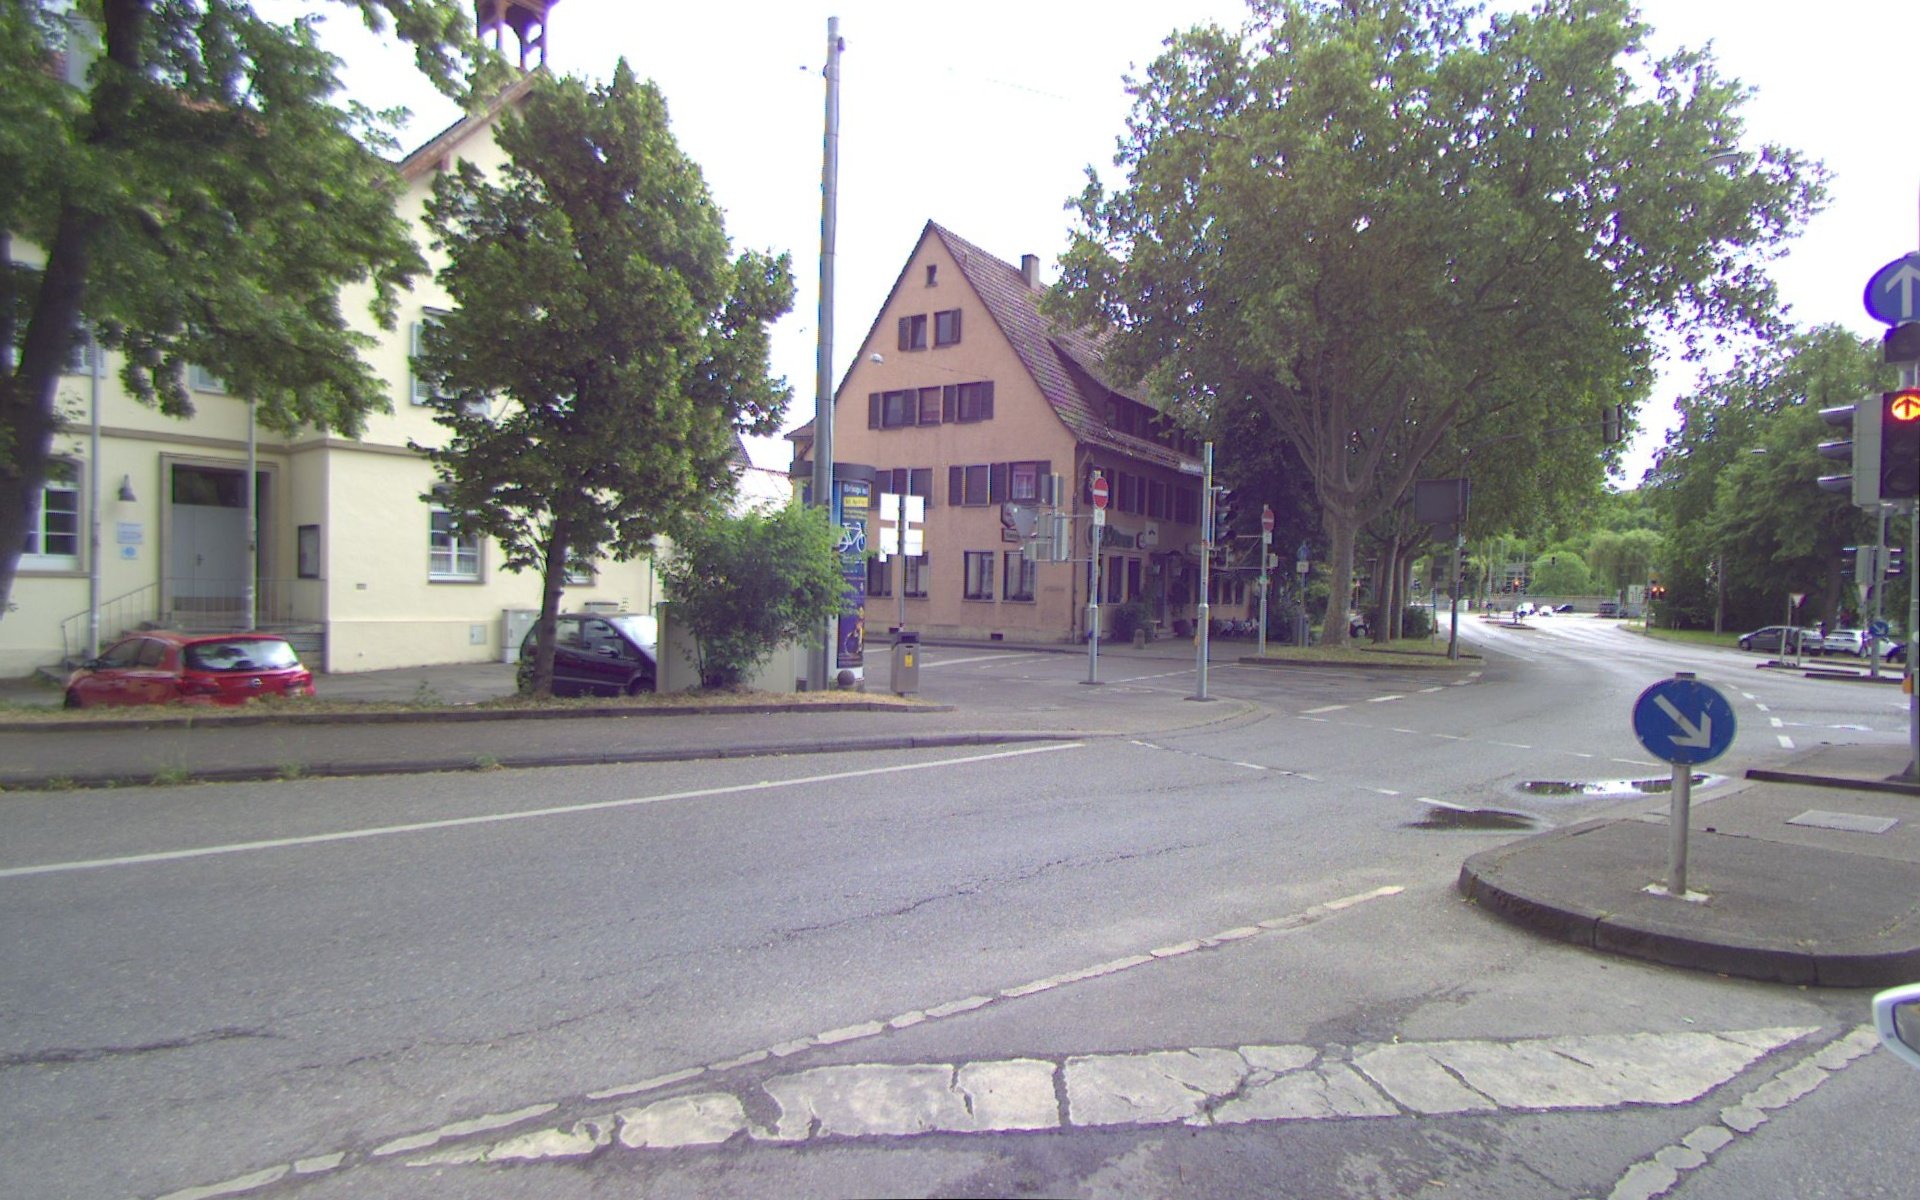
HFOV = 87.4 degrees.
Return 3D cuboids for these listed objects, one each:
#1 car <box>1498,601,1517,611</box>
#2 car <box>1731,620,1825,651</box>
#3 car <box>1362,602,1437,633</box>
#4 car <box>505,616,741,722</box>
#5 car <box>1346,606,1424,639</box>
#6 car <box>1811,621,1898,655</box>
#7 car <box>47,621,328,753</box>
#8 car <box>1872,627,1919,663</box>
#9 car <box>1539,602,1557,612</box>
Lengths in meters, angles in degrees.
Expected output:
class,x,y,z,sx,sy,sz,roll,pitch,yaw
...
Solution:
class,x,y,z,sx,sy,sz,roll,pitch,yaw
car,85.302,0.924,156.544,1.553,1.506,3.337,3,0,12
car,43.823,1.876,53.909,1.592,1.485,3.778,2,0,-11
car,25.734,1.005,58.787,3.924,1.706,1.998,1,0,25
car,-5.529,1.051,16.446,3.507,1.459,1.644,2,0,26
car,24.002,1.249,56.710,3.924,1.706,1.998,1,0,25
car,47.467,2.038,53.328,3.696,1.662,1.859,2,0,-19
car,-10.267,1.047,13.319,3.653,1.401,1.659,2,0,30
car,39.451,1.859,40.767,1.746,1.370,3.326,2,0,-2
car,90.891,1.050,155.337,1.469,1.436,3.028,3,0,11
